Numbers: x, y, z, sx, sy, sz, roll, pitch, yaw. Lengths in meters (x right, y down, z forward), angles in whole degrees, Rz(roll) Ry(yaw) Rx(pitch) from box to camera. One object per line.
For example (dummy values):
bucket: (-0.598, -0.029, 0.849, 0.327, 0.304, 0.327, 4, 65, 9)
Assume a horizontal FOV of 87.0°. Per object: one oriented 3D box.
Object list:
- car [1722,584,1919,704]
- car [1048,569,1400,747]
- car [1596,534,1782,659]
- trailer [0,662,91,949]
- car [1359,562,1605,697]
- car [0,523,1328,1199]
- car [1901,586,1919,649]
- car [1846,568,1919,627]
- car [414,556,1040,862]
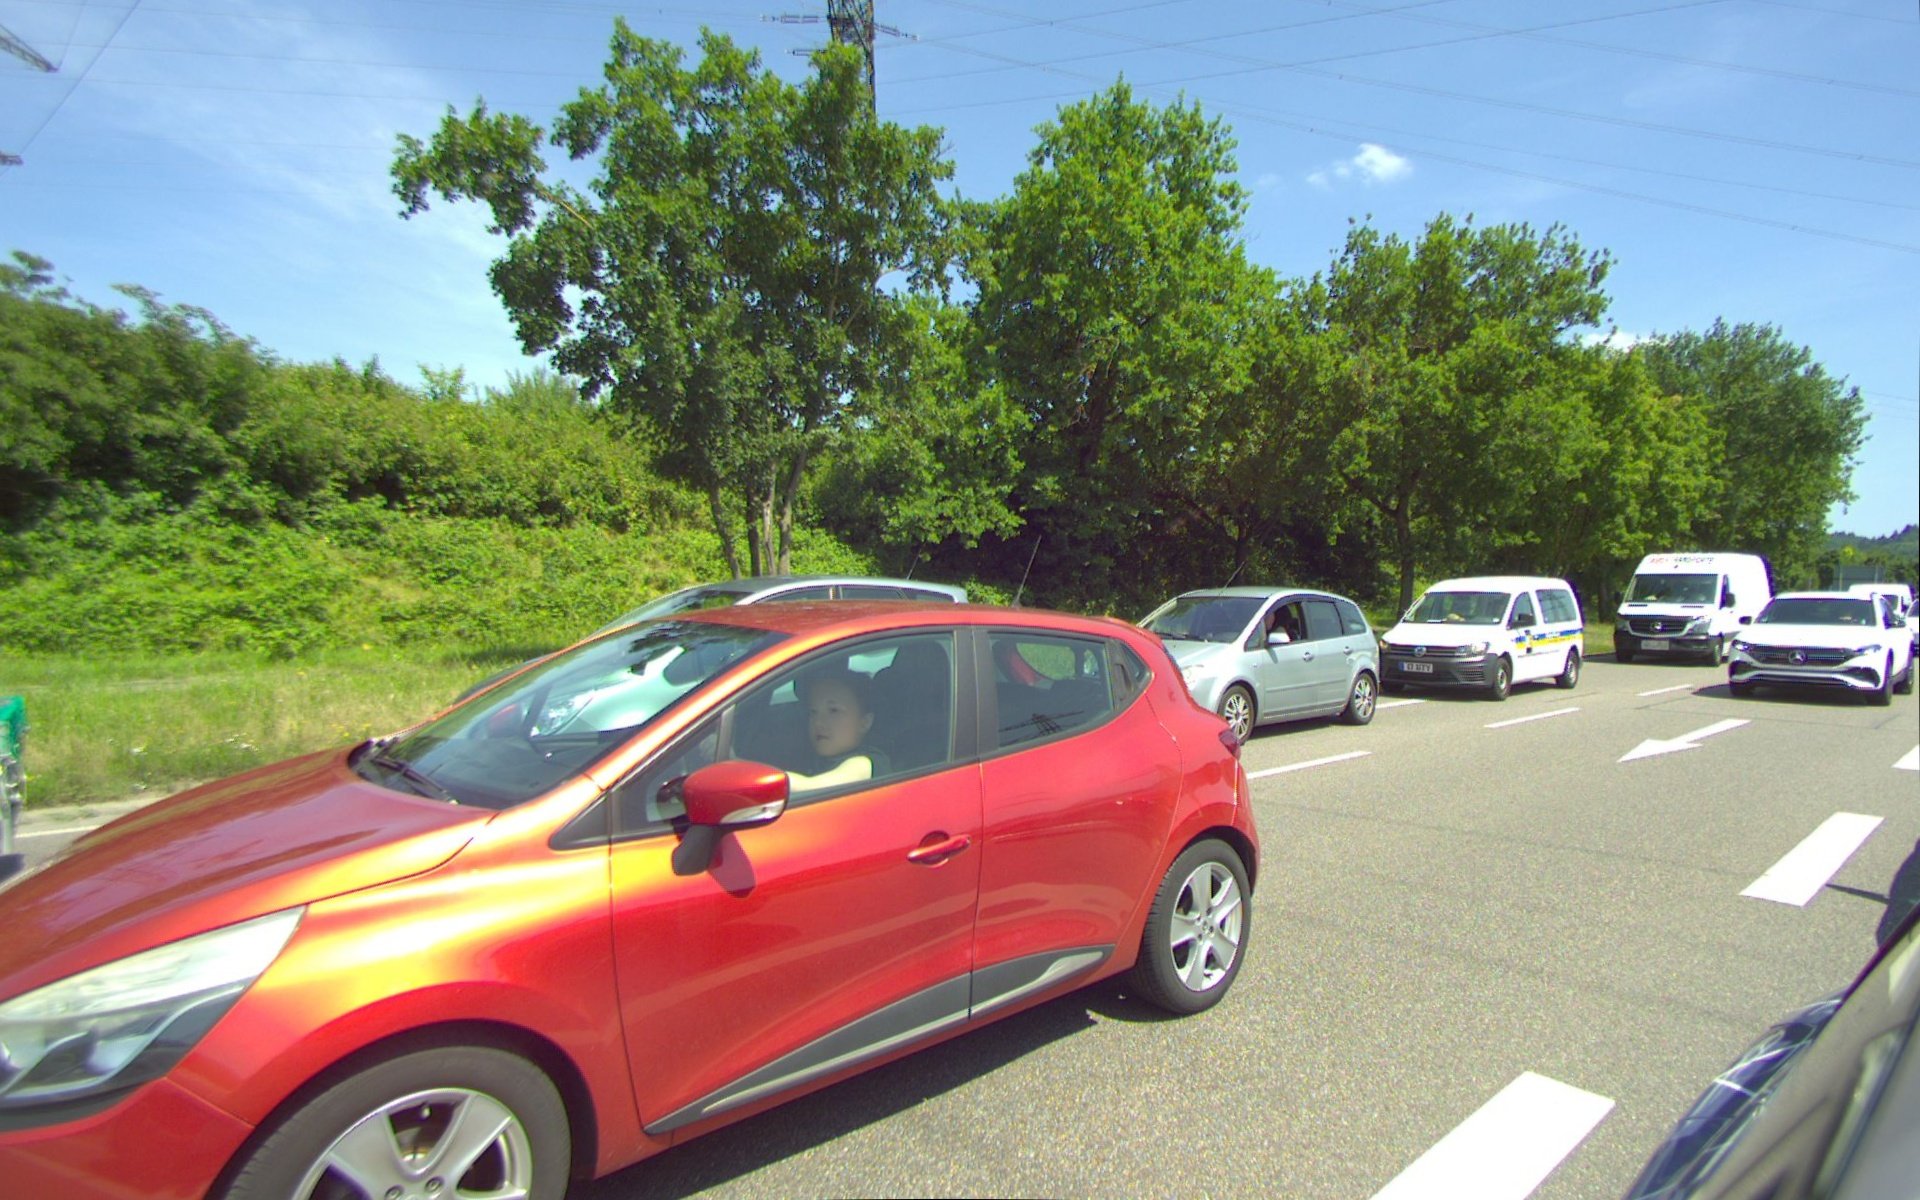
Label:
car: (13.386, 0.575, 15.540, 4.287, 1.588, 1.849, 0, 0, -41)
car: (3.062, 0.523, 11.255, 4.197, 1.614, 1.746, 0, 0, -41)
car: (17.823, -0.078, 24.558, 6.897, 2.640, 2.230, 0, 0, -42)
trailer: (-5.355, 0.852, 3.715, 3.266, 1.019, 1.709, 0, 0, -41)
car: (8.376, 0.399, 16.011, 4.950, 1.823, 1.807, 0, 0, -42)
car: (-0.626, 0.622, 3.309, 3.994, 1.480, 1.746, 0, 0, -41)
car: (27.741, 0.474, 28.124, 3.932, 1.703, 2.019, 0, 0, -43)
car: (41.509, -0.118, 45.052, 5.712, 2.453, 2.306, 0, 0, -41)
car: (-1.493, 0.558, 7.363, 4.092, 1.615, 1.768, 0, 1, -41)
